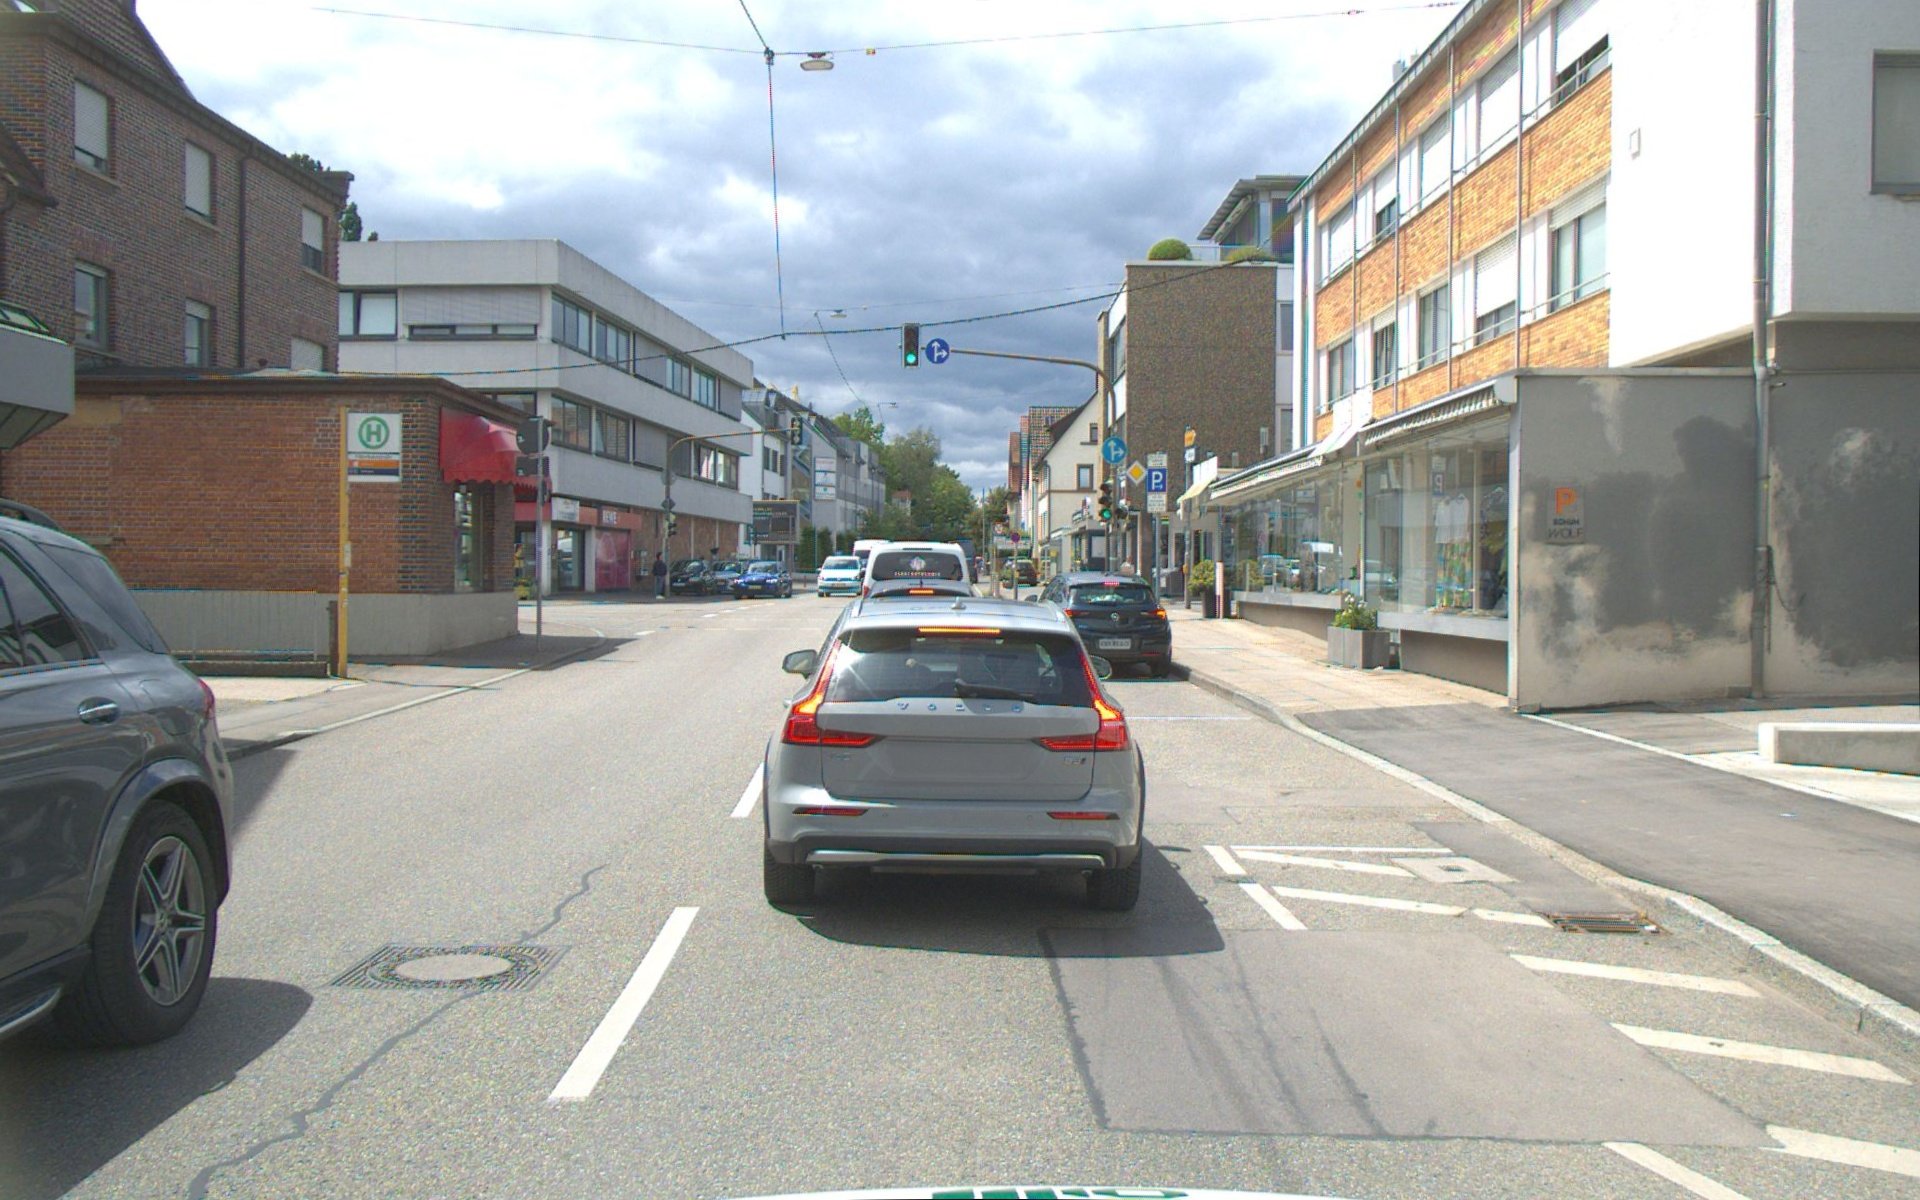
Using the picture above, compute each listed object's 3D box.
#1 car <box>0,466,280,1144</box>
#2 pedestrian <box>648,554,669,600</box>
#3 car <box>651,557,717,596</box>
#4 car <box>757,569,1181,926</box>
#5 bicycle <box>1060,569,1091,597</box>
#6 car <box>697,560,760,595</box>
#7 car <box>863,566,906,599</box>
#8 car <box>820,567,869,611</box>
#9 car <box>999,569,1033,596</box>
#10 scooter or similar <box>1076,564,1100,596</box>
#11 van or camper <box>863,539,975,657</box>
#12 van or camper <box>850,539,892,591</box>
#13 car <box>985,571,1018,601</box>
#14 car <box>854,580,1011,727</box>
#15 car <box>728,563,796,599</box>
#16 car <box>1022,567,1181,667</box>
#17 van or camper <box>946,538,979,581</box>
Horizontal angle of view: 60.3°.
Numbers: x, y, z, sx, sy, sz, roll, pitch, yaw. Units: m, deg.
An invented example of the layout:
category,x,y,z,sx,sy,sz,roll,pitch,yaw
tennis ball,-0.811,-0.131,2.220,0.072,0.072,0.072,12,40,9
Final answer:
category,x,y,z,sx,sy,sz,roll,pitch,yaw
car,-3.418,0.542,3.860,1.902,1.749,4.595,-1,1,-2
pedestrian,-10.997,-0.853,60.353,0.606,1.670,0.660,0,1,1
car,-11.193,-0.960,67.241,1.747,1.490,4.089,2,1,3
car,0.010,0.622,9.044,1.798,1.512,3.999,0,0,-1
bicycle,4.996,-0.739,71.839,0.546,1.164,2.288,-1,1,-18
car,-10.210,-1.024,73.212,1.864,1.468,4.446,2,1,4
car,-3.587,-0.835,78.999,1.753,1.537,3.846,0,0,2
car,-4.658,-0.489,67.224,1.739,1.640,4.120,-1,2,-1
car,3.248,-1.002,96.831,1.676,1.490,3.998,1,0,-2
scooter or similar,5.295,-0.819,68.472,0.336,1.275,1.235,-2,1,-26
van or camper,-0.688,-0.103,28.555,1.782,1.866,4.000,0,2,-1
van or camper,-4.643,-1.866,86.786,2.105,2.600,5.436,-1,2,-2
car,1.891,-0.636,76.320,1.409,1.310,3.247,0,0,-1
car,-0.309,0.538,19.093,1.617,1.508,3.607,1,1,-1
car,-7.766,-0.768,65.263,1.952,1.361,4.358,0,1,3
car,2.033,0.232,24.747,1.772,1.370,3.714,0,0,-5
van or camper,0.196,-2.680,108.666,2.080,2.733,4.782,0,1,0
